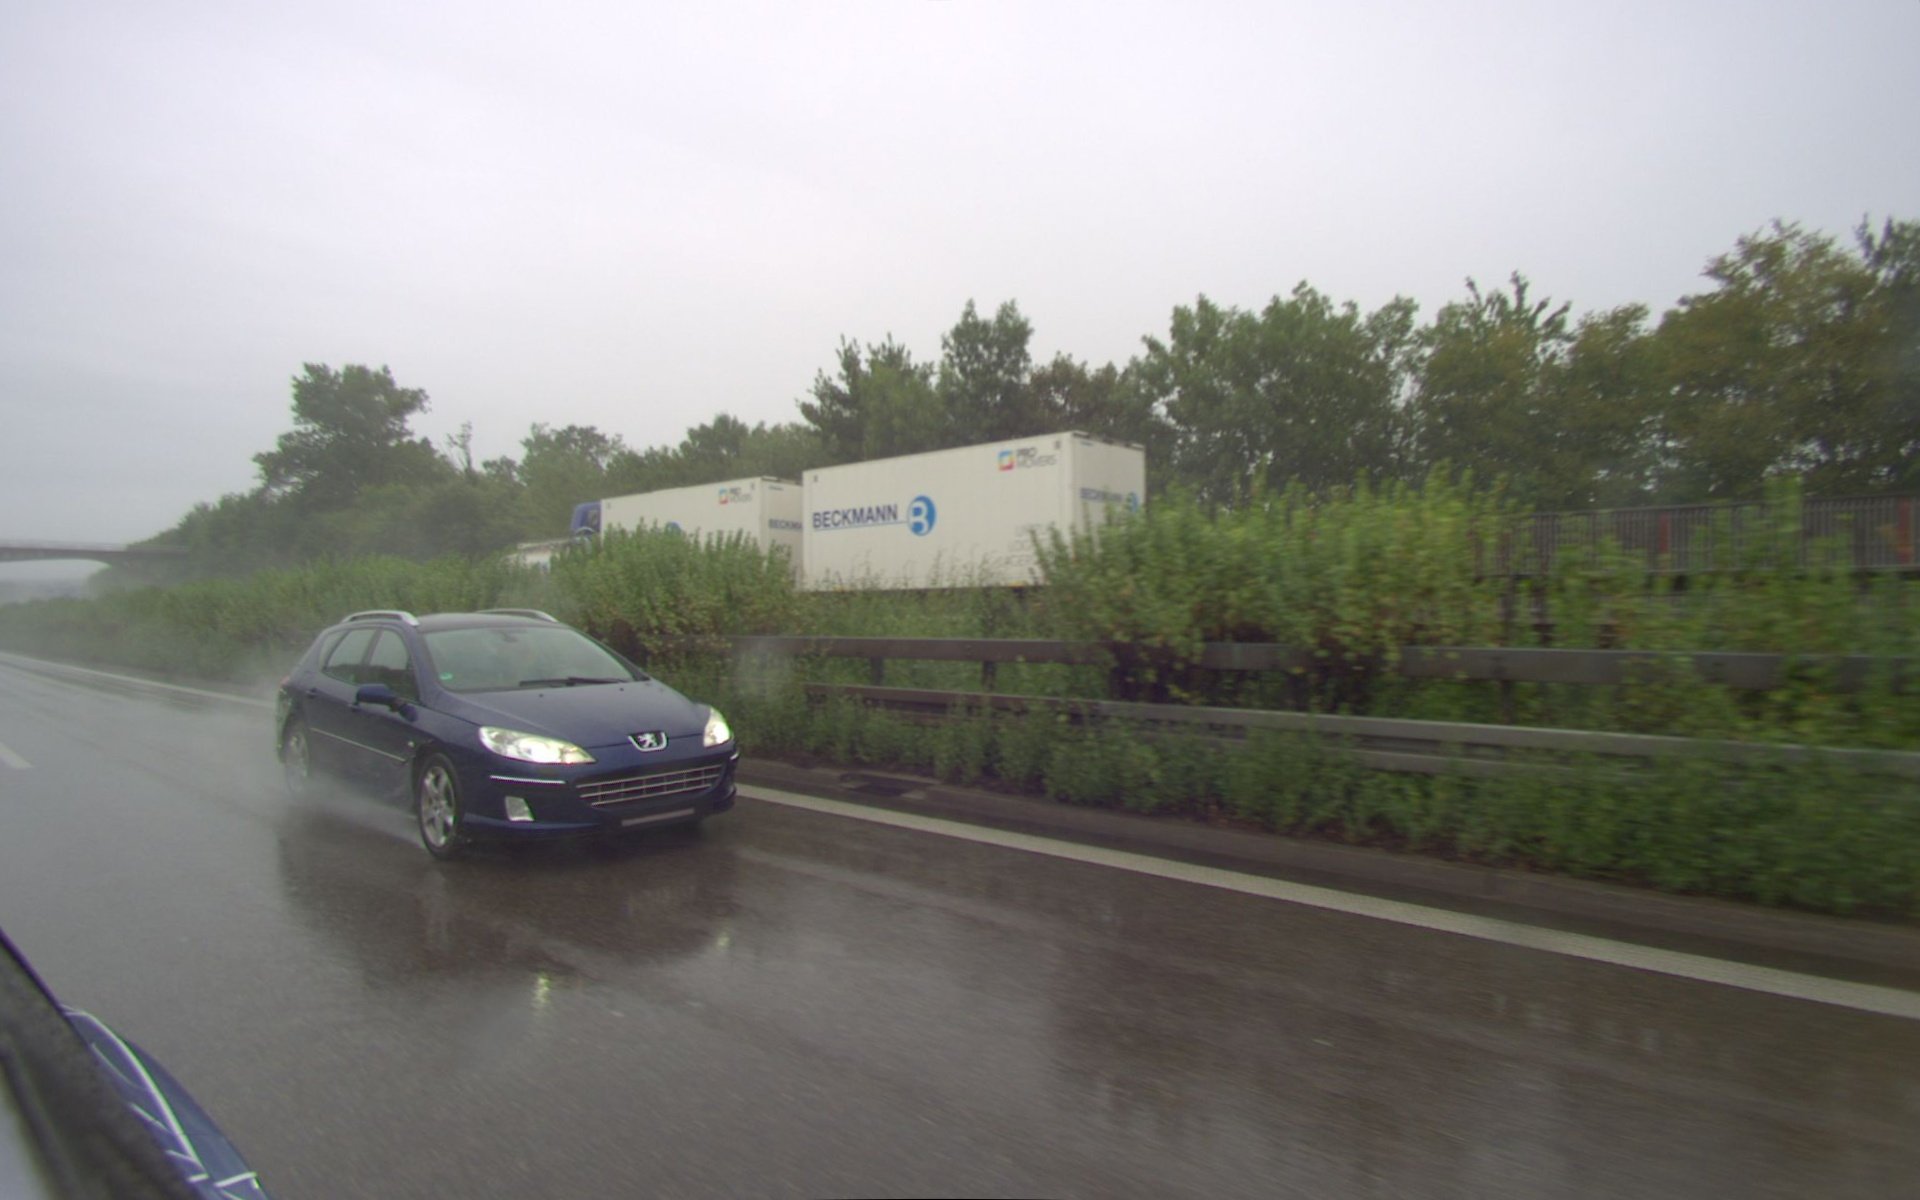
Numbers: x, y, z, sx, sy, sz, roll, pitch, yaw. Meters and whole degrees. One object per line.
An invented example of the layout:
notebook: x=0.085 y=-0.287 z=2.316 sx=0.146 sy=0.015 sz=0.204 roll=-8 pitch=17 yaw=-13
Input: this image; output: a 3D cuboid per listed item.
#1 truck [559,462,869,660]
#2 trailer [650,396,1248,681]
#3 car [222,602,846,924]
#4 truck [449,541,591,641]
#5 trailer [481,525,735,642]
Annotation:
truck: x=-7.172 y=-0.838 z=28.443 sx=9.405 sy=4.674 sz=3.795 roll=-2 pitch=-1 yaw=42
trailer: x=-1.297 y=-0.935 z=23.228 sx=15.019 sy=4.731 sz=3.829 roll=-1 pitch=0 yaw=41
car: x=-3.324 y=0.804 z=7.228 sx=5.155 sy=1.496 sz=2.033 roll=-1 pitch=0 yaw=41
truck: x=-19.135 y=-0.332 z=43.835 sx=6.622 sy=4.023 sz=3.118 roll=-1 pitch=0 yaw=41
trailer: x=-14.128 y=-0.481 z=39.484 sx=13.249 sy=3.906 sz=3.165 roll=-1 pitch=0 yaw=41
